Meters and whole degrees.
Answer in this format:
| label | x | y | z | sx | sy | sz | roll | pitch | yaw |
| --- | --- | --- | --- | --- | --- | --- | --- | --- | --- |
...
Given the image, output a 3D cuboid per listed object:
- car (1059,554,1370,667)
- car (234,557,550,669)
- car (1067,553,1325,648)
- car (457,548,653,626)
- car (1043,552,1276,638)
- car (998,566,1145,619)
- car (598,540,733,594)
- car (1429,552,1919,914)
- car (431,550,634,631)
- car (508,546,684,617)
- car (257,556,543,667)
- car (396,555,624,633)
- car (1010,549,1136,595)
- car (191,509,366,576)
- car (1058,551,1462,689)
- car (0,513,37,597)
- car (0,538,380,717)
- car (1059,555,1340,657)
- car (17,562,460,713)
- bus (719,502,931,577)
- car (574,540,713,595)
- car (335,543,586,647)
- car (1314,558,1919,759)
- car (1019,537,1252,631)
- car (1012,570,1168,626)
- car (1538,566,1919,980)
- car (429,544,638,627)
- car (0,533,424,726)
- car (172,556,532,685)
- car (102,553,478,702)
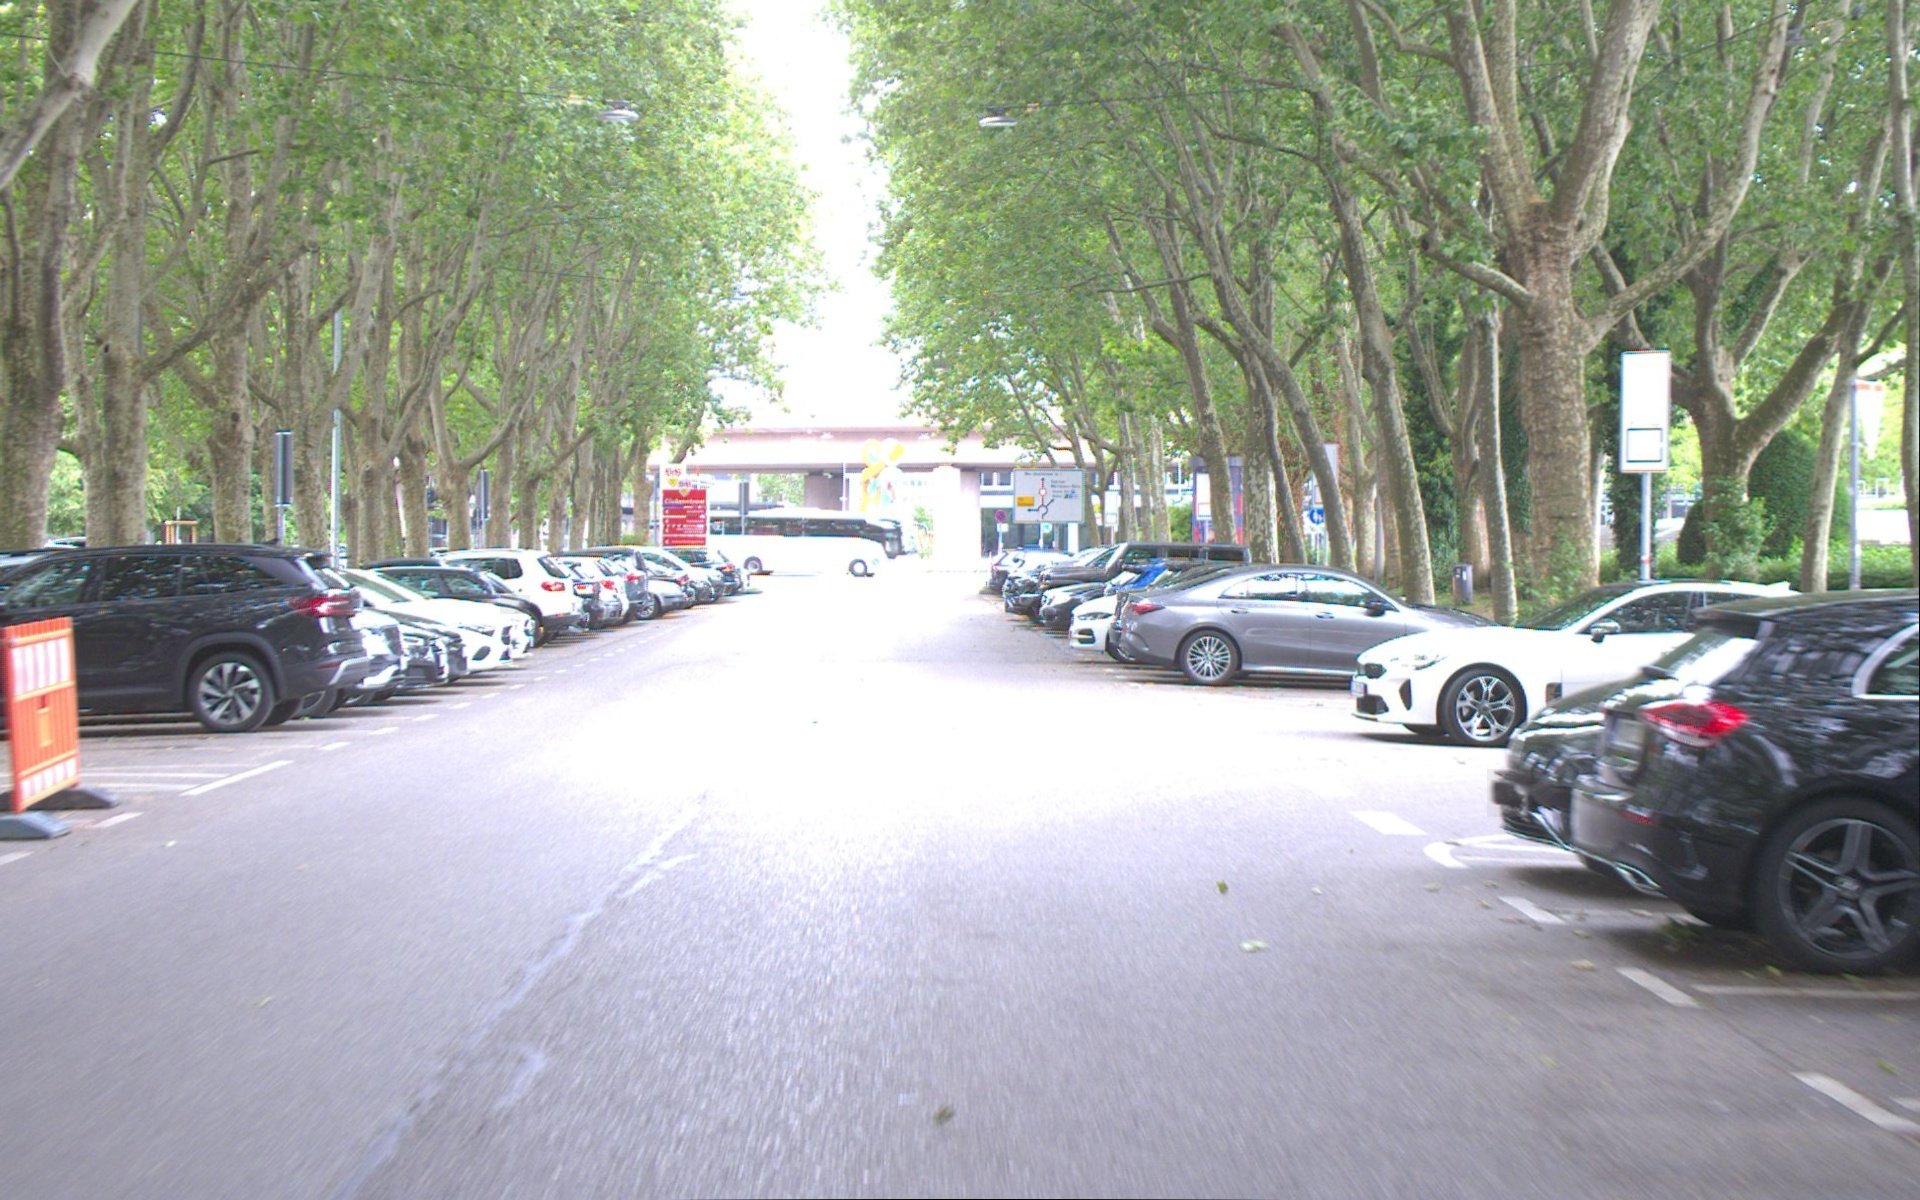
| label | x | y | z | sx | sy | sz | roll | pitch | yaw |
| --- | --- | --- | --- | --- | --- | --- | --- | --- | --- |
| car | 3.497 | 0.132 | 47.401 | 4.176 | 1.437 | 1.731 | 1 | 1 | 4 |
| car | -7.503 | 0.162 | 45.586 | 3.814 | 1.326 | 1.662 | -2 | 1 | 5 |
| car | 3.876 | -0.003 | 56.896 | 4.048 | 1.463 | 1.731 | 1 | 1 | -3 |
| car | -8.531 | -0.288 | 72.659 | 3.814 | 1.510 | 1.686 | -2 | 1 | 5 |
| car | 3.608 | -0.102 | 62.604 | 4.048 | 1.463 | 1.731 | 1 | 1 | -3 |
| car | 3.370 | -0.232 | 104.451 | 4.376 | 1.517 | 1.731 | 1 | 1 | 0 |
| car | -8.760 | -0.989 | 102.355 | 3.814 | 1.510 | 1.686 | 1 | 1 | 2 |
| car | 4.631 | 0.611 | 15.524 | 4.659 | 1.447 | 1.926 | 2 | 1 | -2 |
| car | -8.739 | -0.211 | 70.402 | 3.814 | 1.510 | 1.686 | -2 | 1 | 5 |
| car | -8.503 | -0.442 | 80.450 | 3.814 | 1.510 | 1.686 | -2 | 1 | 5 |
| car | -8.209 | 0.158 | 50.572 | 3.814 | 1.479 | 1.662 | -2 | 1 | 5 |
| car | -8.205 | -0.118 | 62.897 | 3.814 | 1.292 | 1.785 | -2 | 1 | 5 |
| car | 3.989 | -0.996 | 121.817 | 4.376 | 1.517 | 1.731 | 1 | 1 | 0 |
| car | -21.788 | -1.852 | 109.997 | 5.078 | 2.008 | 2.175 | 1 | 1 | 3 |
| car | 3.482 | 0.211 | 40.248 | 4.575 | 1.481 | 2.000 | 1 | 1 | 4 |
| car | -25.136 | -1.158 | 84.254 | 4.352 | 2.008 | 2.175 | 1 | 1 | 3 |
| car | -7.582 | 0.247 | 30.149 | 4.664 | 1.422 | 2.000 | -2 | 1 | -2 |
| car | 3.643 | 0.080 | 52.359 | 4.176 | 1.437 | 1.731 | 1 | 1 | 4 |
| car | -7.362 | 0.364 | 35.395 | 4.166 | 1.376 | 1.871 | -2 | 1 | -2 |
| bus | -7.488 | -3.316 | 189.891 | 11.583 | 3.957 | 2.452 | -1 | 0 | 18 |
| car | -9.199 | -0.950 | 100.162 | 3.814 | 1.510 | 1.686 | 1 | 1 | 2 |
| car | -8.367 | -0.092 | 57.757 | 3.814 | 1.597 | 1.785 | -2 | 1 | 5 |
| car | 5.698 | 0.486 | 29.144 | 4.930 | 1.397 | 2.001 | 3 | 1 | -11 |
| car | 3.429 | -0.318 | 67.697 | 4.376 | 1.745 | 1.731 | 1 | 1 | -3 |
| car | 3.777 | -0.061 | 100.439 | 4.376 | 1.517 | 1.731 | 1 | 1 | -3 |
| car | 4.336 | 0.647 | 13.145 | 3.918 | 1.447 | 1.556 | 1 | 1 | -2 |
| car | -8.433 | -0.296 | 68.175 | 3.814 | 1.510 | 1.686 | -2 | 1 | 5 |
| car | -7.477 | 0.271 | 32.729 | 4.471 | 1.671 | 1.762 | -2 | 1 | -2 |
| car | -7.079 | 0.230 | 40.224 | 3.814 | 1.349 | 1.662 | -2 | 1 | 5 |
| car | -7.328 | 0.286 | 37.878 | 3.813 | 1.479 | 1.662 | -2 | 1 | -2 |
